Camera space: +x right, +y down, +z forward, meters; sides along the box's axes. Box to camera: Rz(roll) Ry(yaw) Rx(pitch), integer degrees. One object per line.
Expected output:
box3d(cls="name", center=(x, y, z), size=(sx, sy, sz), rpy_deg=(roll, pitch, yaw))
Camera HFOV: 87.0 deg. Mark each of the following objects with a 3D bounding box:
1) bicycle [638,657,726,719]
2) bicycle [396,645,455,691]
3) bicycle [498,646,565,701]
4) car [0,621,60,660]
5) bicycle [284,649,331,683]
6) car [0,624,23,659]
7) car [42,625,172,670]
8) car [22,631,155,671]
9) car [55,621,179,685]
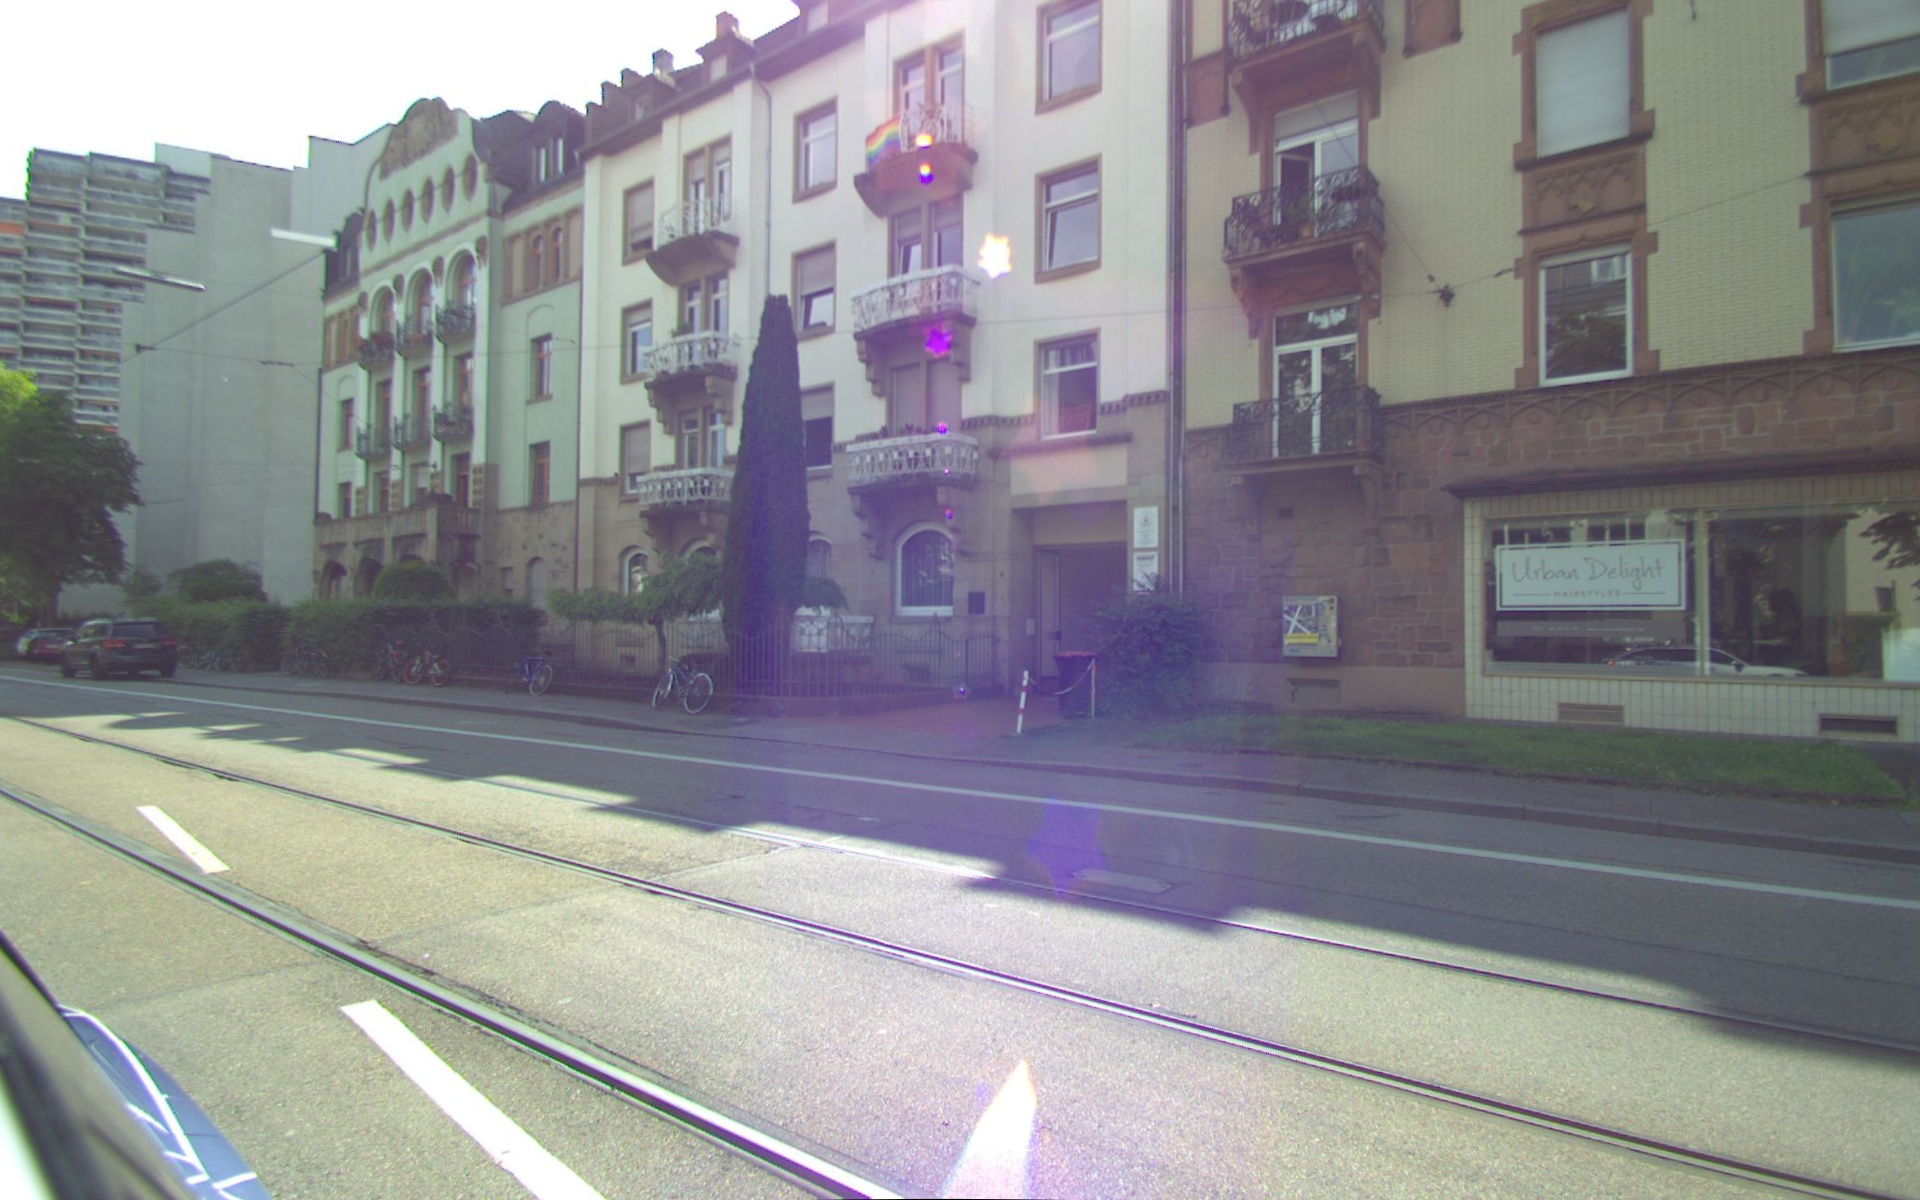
box3d(cls="bicycle", center=(-4.924, 1.523, 17.855), size=(2.068, 0.913, 0.517), rpy_deg=(1, -1, 45))
box3d(cls="bicycle", center=(-12.570, 1.577, 23.774), size=(1.872, 0.993, 0.579), rpy_deg=(0, -2, 42))
box3d(cls="bicycle", center=(-8.953, 1.511, 21.109), size=(1.872, 1.037, 0.532), rpy_deg=(0, -2, 42))
box3d(cls="car", center=(-48.322, 2.034, 51.172), size=(1.829, 1.940, 3.947), rpy_deg=(-1, -3, 39))
box3d(cls="bicycle", center=(-17.608, 1.768, 27.291), size=(1.872, 0.803, 0.579), rpy_deg=(0, 0, 42))
box3d(cls="car", center=(-51.367, 2.143, 52.592), size=(1.733, 1.857, 3.619), rpy_deg=(-1, -3, 37))
box3d(cls="car", center=(-33.173, 1.826, 39.446), size=(1.608, 1.652, 3.587), rpy_deg=(-1, -2, 37))
box3d(cls="car", center=(-35.468, 2.043, 41.254), size=(1.633, 1.548, 3.841), rpy_deg=(-1, -3, 39))
box3d(cls="car", center=(-24.531, 1.505, 29.417), size=(4.324, 1.724, 1.775), rpy_deg=(-1, -3, 37))
